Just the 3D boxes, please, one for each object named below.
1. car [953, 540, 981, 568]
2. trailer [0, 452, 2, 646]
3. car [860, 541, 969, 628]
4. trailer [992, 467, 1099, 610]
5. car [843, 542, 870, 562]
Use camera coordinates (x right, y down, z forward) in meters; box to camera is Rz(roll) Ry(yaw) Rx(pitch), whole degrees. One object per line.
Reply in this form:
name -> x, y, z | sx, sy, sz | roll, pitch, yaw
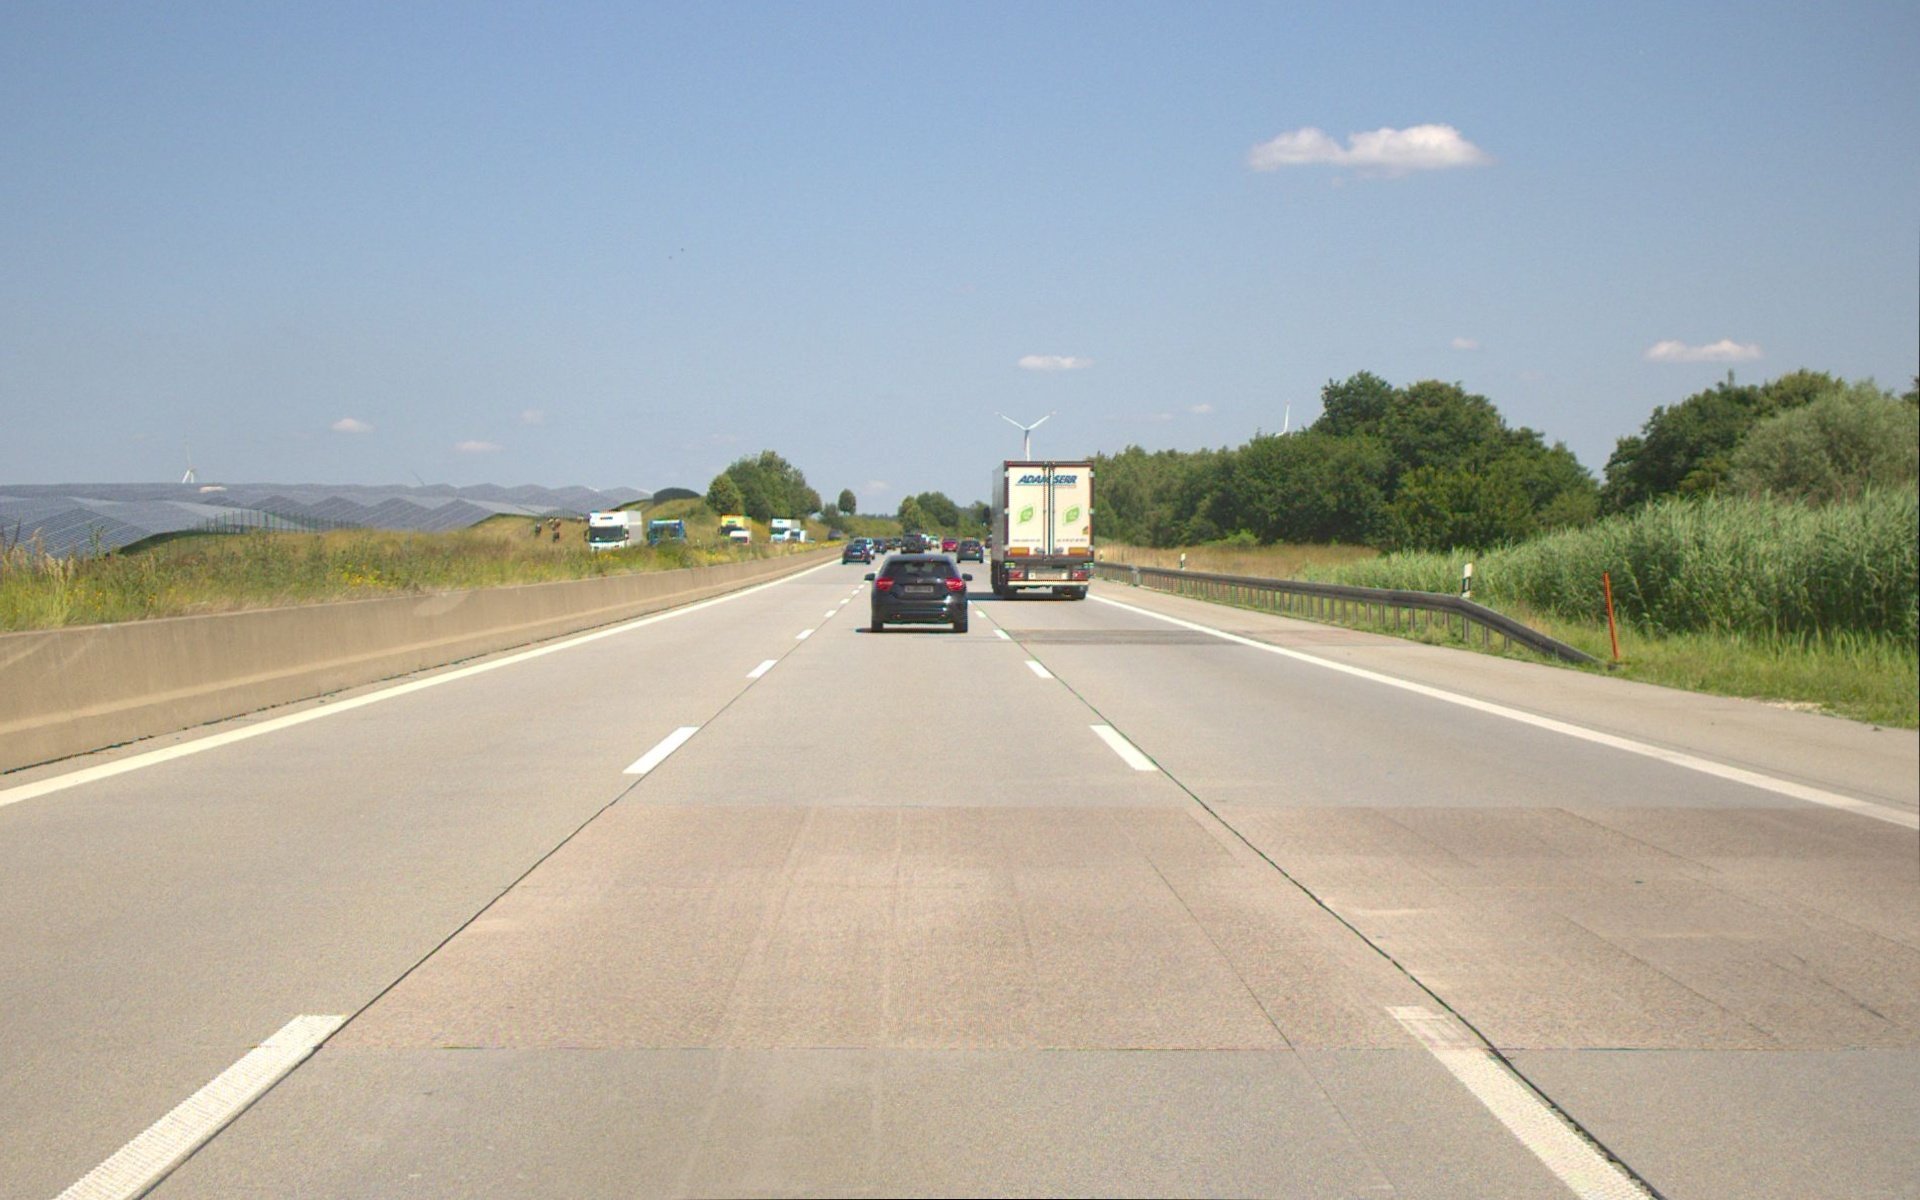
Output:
car -> 0.494, -3.213, 239.398 | 1.827, 1.900, 4.000 | 1, 1, 1
trailer -> -21.948, -1.013, 68.870 | 2.732, 4.177, 10.257 | 0, 1, 0
car -> -0.855, -0.310, 63.537 | 1.910, 1.487, 4.192 | 1, 1, -1
trailer -> 2.495, -1.847, 104.380 | 2.852, 4.029, 12.714 | 1, 1, 0
car -> -6.842, -3.188, 226.791 | 1.655, 1.192, 3.960 | 3, 1, -1
